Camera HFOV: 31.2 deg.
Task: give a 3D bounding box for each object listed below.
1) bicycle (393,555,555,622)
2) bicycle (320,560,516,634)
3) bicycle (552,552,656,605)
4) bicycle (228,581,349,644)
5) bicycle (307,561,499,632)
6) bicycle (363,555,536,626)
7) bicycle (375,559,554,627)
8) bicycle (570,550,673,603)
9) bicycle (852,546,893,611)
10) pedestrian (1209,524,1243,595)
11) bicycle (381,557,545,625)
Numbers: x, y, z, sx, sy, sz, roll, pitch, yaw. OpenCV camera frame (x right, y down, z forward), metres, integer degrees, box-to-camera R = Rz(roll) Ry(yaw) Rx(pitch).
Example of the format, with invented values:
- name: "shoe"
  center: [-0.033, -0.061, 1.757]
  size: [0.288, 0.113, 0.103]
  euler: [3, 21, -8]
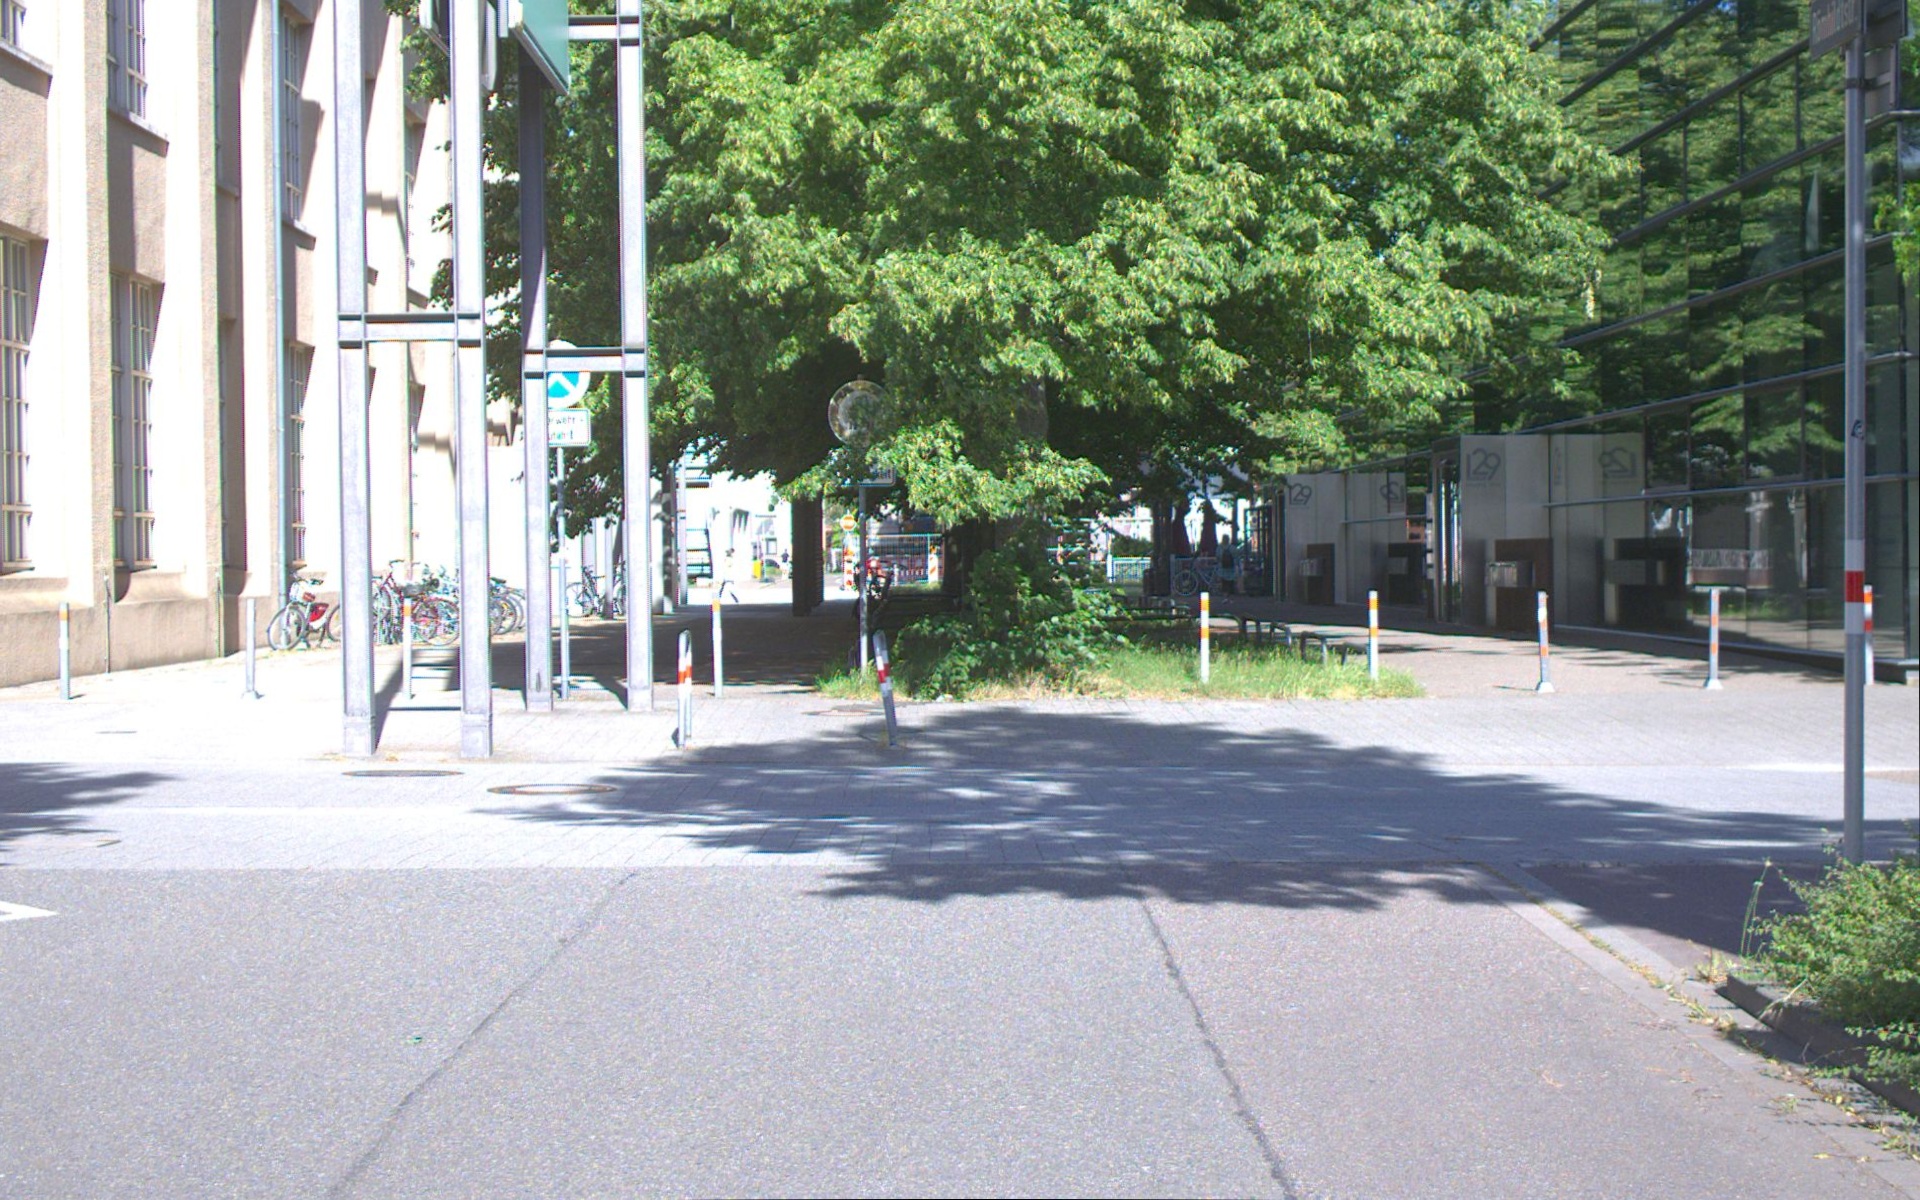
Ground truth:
- name: "bicycle"
  center: [-8.452, -0.204, 59.860]
  size: [2.731, 1.147, 0.719]
  euler: [0, 1, -5]
- name: "bicycle"
  center: [-7.997, -0.055, 50.813]
  size: [2.800, 1.059, 0.719]
  euler: [0, 1, -5]
- name: "bicycle"
  center: [-7.304, -0.449, 70.493]
  size: [2.058, 1.062, 0.506]
  euler: [0, 1, 2]
- name: "bicycle"
  center: [-9.287, 0.159, 47.641]
  size: [0.778, 0.789, 2.883]
  euler: [0, 1, 7]
- name: "bicycle"
  center: [-8.477, -0.058, 52.373]
  size: [2.800, 1.059, 0.719]
  euler: [0, 1, 0]
- name: "bicycle"
  center: [-8.539, -0.160, 57.574]
  size: [2.800, 1.147, 0.719]
  euler: [-1, 1, -5]
- name: "bicycle"
  center: [-7.959, -0.120, 55.308]
  size: [2.800, 1.059, 0.719]
  euler: [0, 1, -5]
- name: "bicycle"
  center: [-7.004, -0.489, 71.127]
  size: [2.058, 1.062, 0.506]
  euler: [0, 1, 2]
- name: "bicycle"
  center: [-1.655, -0.413, 64.661]
  size: [0.619, 1.193, 2.132]
  euler: [-1, 1, -6]
- name: "pedestrian"
  center: [5.851, -0.901, 75.585]
  size: [0.717, 1.545, 0.690]
  euler: [0, 1, 6]
- name: "bicycle"
  center: [-8.529, -0.159, 59.071]
  size: [2.731, 1.147, 0.719]
  euler: [0, 1, -5]
